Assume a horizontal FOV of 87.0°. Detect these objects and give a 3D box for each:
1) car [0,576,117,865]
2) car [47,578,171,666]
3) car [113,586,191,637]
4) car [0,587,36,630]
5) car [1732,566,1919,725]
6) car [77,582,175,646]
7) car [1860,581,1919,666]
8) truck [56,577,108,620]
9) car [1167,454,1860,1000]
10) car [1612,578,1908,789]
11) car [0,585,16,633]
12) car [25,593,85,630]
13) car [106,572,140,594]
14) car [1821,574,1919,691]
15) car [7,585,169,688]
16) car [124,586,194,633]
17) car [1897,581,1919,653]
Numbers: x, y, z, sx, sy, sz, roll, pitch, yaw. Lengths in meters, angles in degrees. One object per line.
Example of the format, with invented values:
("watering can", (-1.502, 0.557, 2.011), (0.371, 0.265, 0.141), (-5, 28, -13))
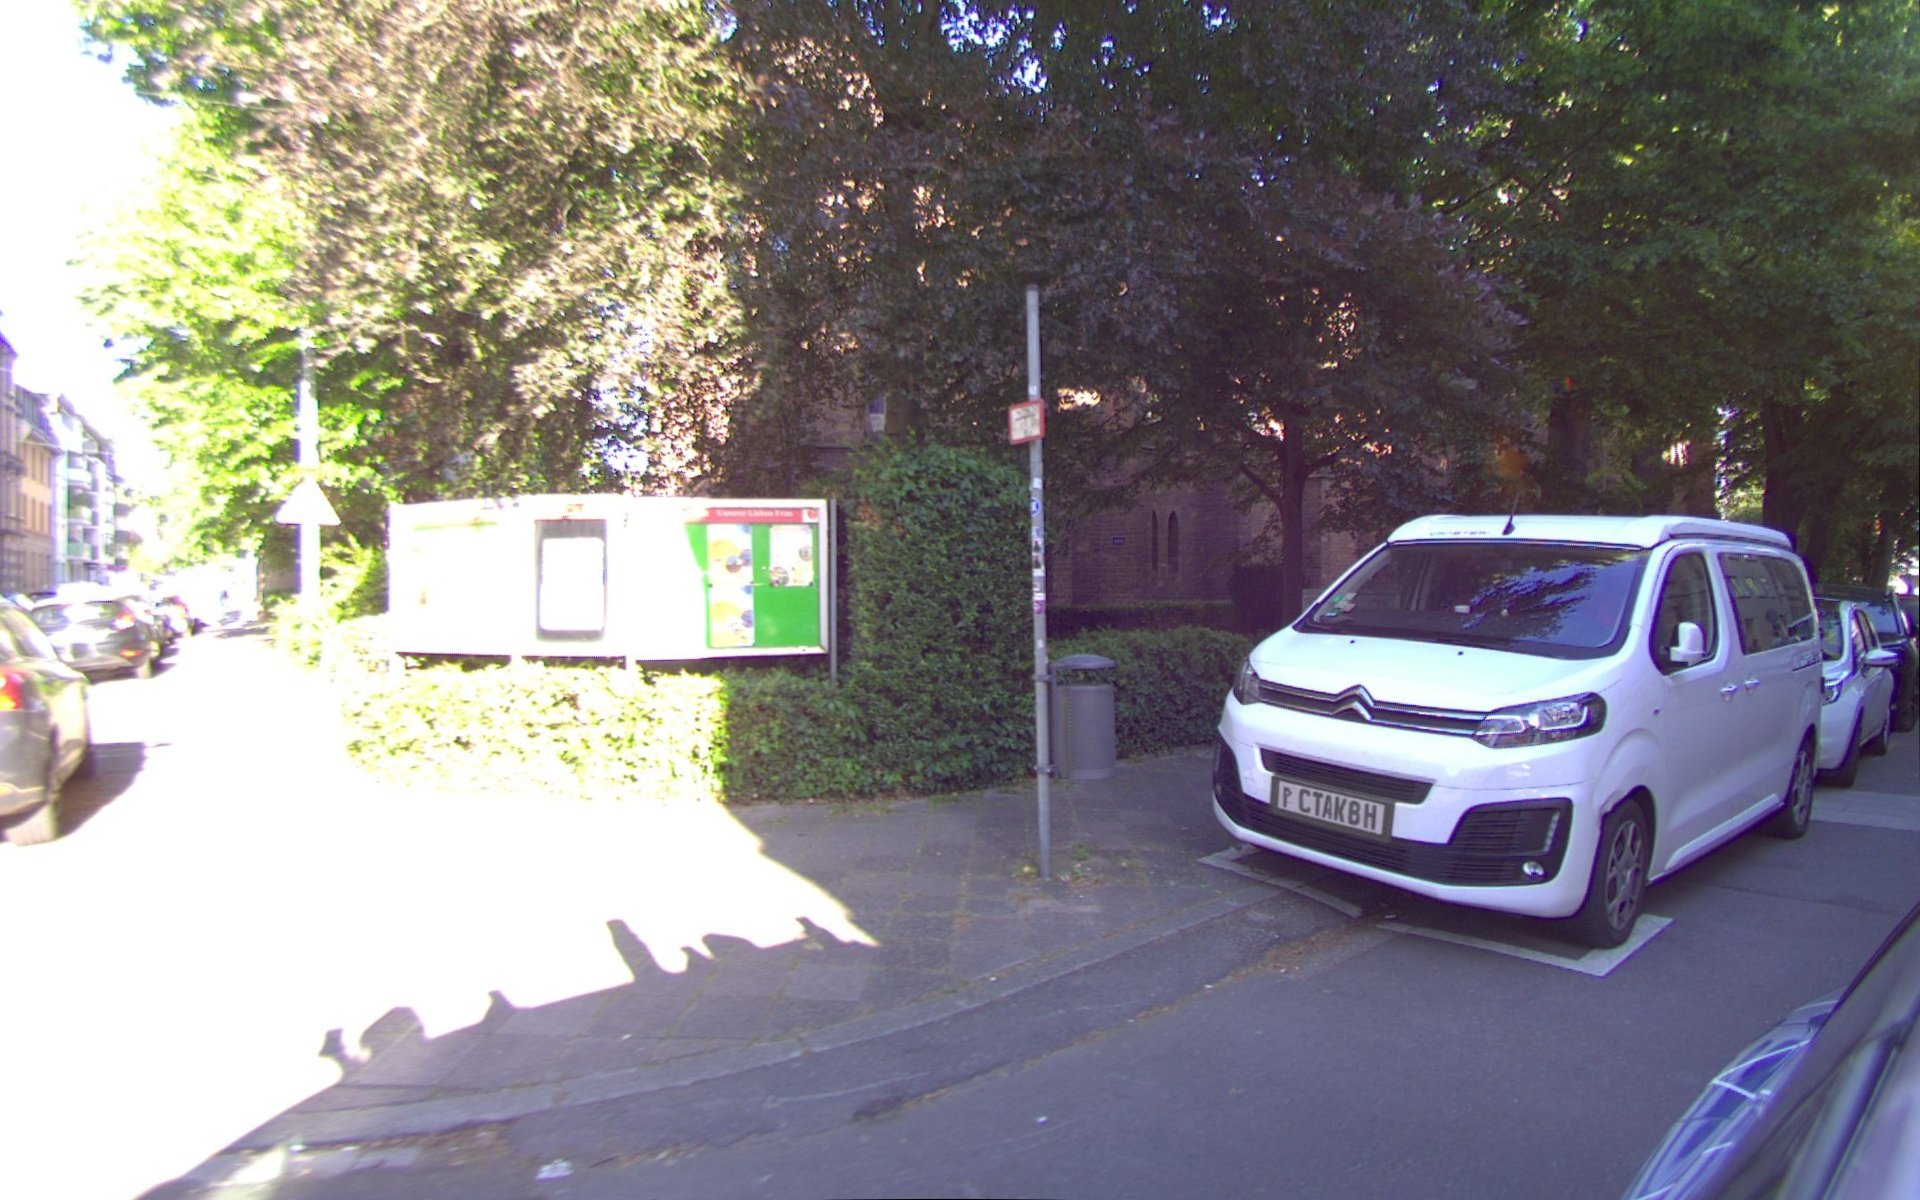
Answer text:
("car", (-6.573, 0.641, 6.309), (1.765, 1.457, 3.930), (-3, 2, -37))
("car", (-18.173, 0.408, 21.763), (1.602, 1.669, 3.543), (-3, 2, -34))
("car", (-25.715, 0.332, 32.305), (1.602, 1.491, 3.543), (-3, 2, -34))
("car", (-36.992, 0.326, 38.904), (1.603, 1.572, 3.893), (-3, 2, -35))
("car", (11.478, 0.436, 13.106), (1.741, 1.621, 4.196), (7, 6, 44))
("car", (-21.815, 0.330, 26.585), (1.602, 1.491, 3.543), (-3, 2, -34))
("car", (19.345, 0.455, 20.046), (3.709, 1.504, 1.624), (-1, 6, -39))
("truck", (-48.609, -0.114, 56.083), (1.603, 2.243, 4.365), (-3, 2, -35))
("car", (3.514, 0.415, 5.978), (4.706, 2.023, 1.919), (0, 3, -39))
("car", (7.666, 0.598, 9.569), (3.765, 1.590, 1.720), (-1, 1, -44))
("car", (-32.433, 0.312, 33.168), (1.603, 1.572, 3.893), (-3, 2, -35))
("car", (-42.586, 0.509, 47.683), (1.603, 1.572, 3.893), (-3, 2, -35))
("car", (-62.510, -1.236, 75.617), (1.603, 1.572, 3.893), (-3, 2, -35))
("car", (15.600, 0.466, 16.747), (3.801, 1.643, 1.621), (-2, 6, -44))
("car", (-14.637, 0.538, 17.165), (1.602, 1.491, 3.543), (-3, 2, -34))
("car", (-27.942, 0.305, 35.398), (1.602, 1.491, 3.543), (-3, 2, -34))
("car", (22.694, 0.405, 23.105), (1.677, 1.458, 4.621), (7, 6, 44))
